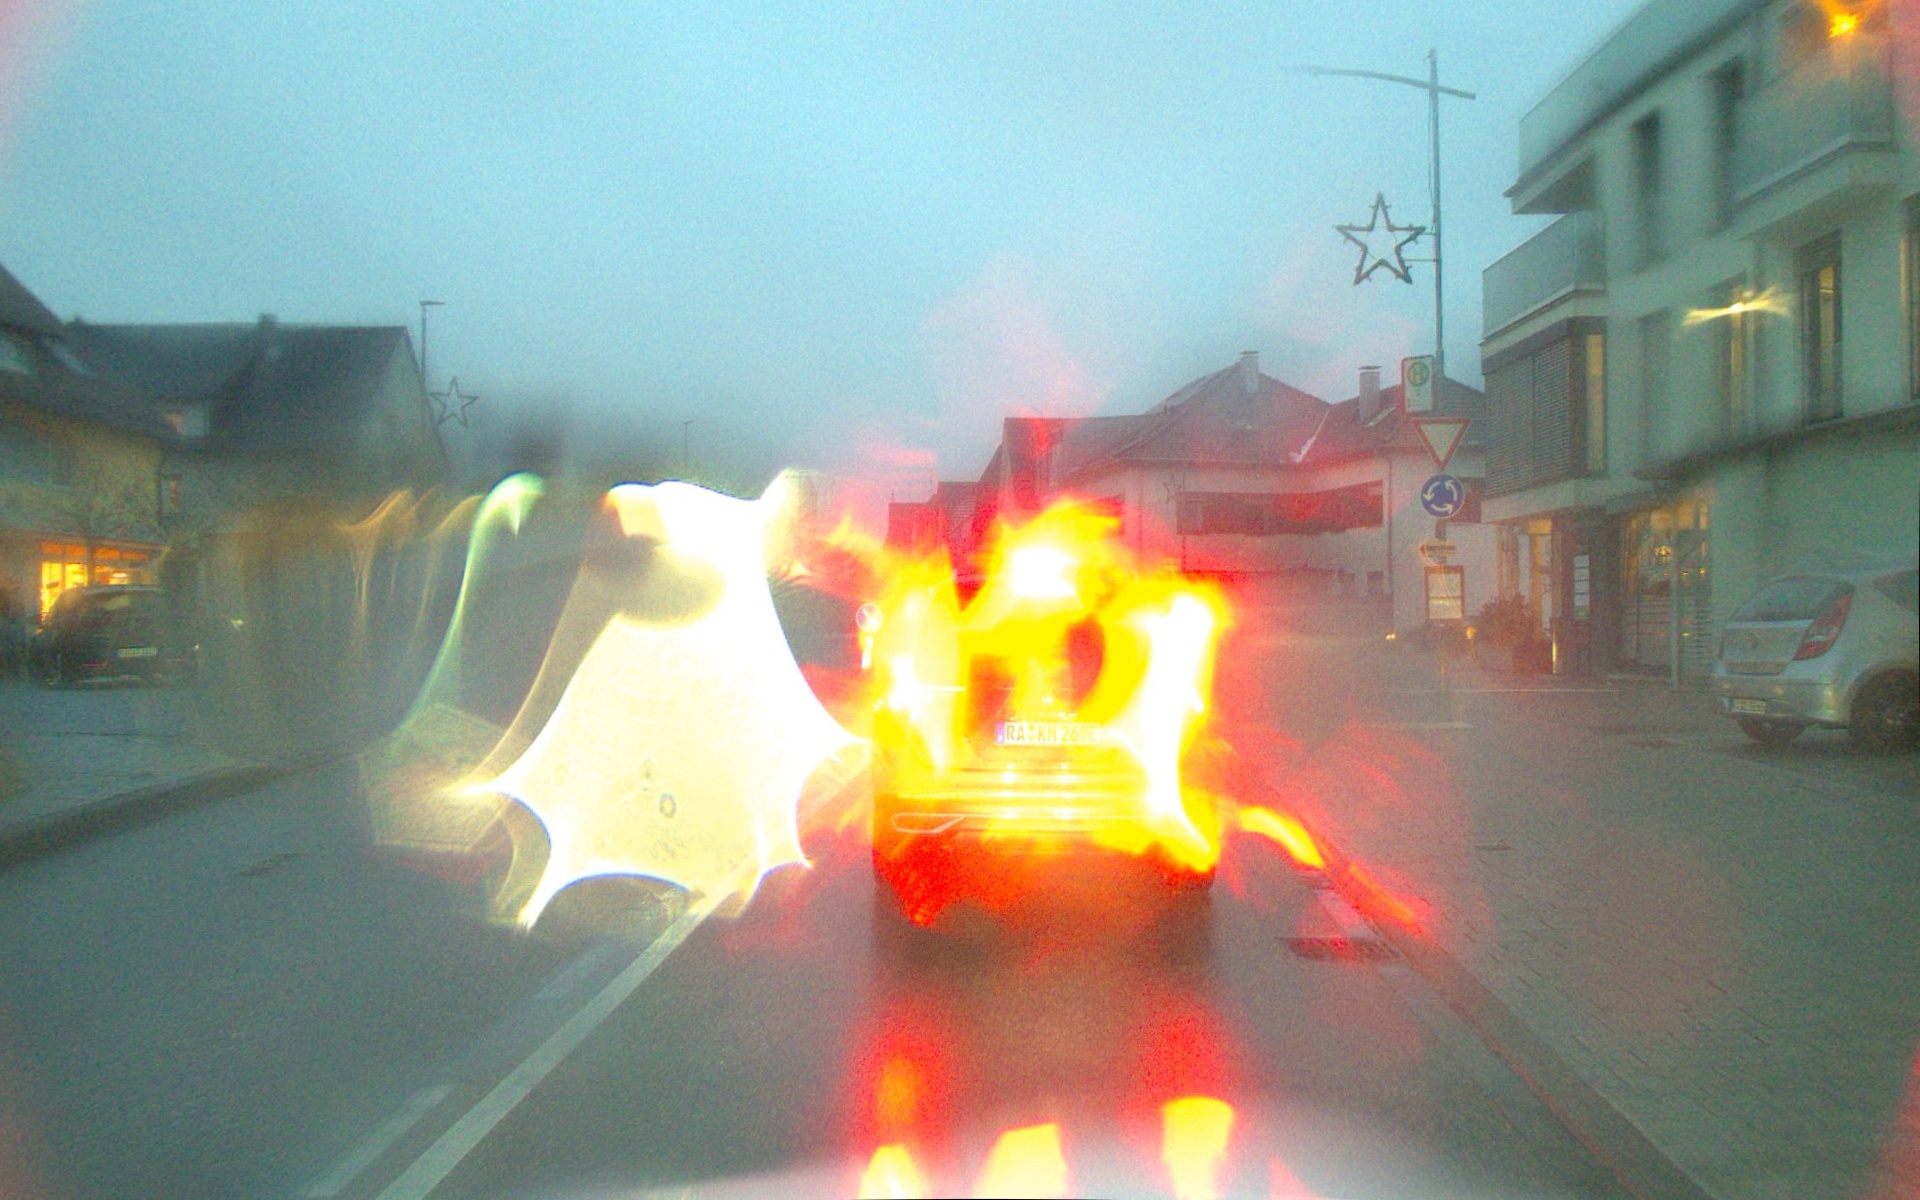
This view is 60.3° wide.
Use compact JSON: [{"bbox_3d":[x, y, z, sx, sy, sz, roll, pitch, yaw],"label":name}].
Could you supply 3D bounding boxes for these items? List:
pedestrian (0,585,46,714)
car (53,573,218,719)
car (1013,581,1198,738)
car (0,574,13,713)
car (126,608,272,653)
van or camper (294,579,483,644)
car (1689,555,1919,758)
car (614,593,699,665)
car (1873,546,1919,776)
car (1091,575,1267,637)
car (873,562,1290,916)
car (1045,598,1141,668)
[{"bbox_3d":[-12.897,0.665,22.736,0.490,1.731,0.707,-2,0,-27],"label":"pedestrian"},{"bbox_3d":[-12.204,0.609,24.521,2.013,1.959,4.021,0,0,-27],"label":"car"},{"bbox_3d":[1.455,0.561,17.820,1.648,1.478,4.000,1,0,0],"label":"car"},{"bbox_3d":[-14.728,0.616,23.452,2.013,1.959,4.021,0,0,-27],"label":"car"},{"bbox_3d":[-24.667,0.971,53.712,3.908,1.388,1.726,0,0,-4],"label":"car"},{"bbox_3d":[-18.106,0.365,52.448,5.412,1.989,2.002,0,0,13],"label":"van or camper"},{"bbox_3d":[8.436,0.342,13.546,4.125,1.485,1.791,-3,0,-6],"label":"car"},{"bbox_3d":[-9.968,0.949,54.641,1.953,2.242,4.417,2,-1,0],"label":"car"},{"bbox_3d":[8.291,0.284,10.423,4.125,1.485,1.791,-3,0,-6],"label":"car"},{"bbox_3d":[5.523,0.154,41.768,3.931,1.443,1.987,-1,-1,-22],"label":"car"},{"bbox_3d":[0.585,0.644,9.912,1.924,1.622,4.313,1,0,0],"label":"car"},{"bbox_3d":[2.928,0.683,35.948,1.951,1.416,4.003,0,0,6],"label":"car"}]
